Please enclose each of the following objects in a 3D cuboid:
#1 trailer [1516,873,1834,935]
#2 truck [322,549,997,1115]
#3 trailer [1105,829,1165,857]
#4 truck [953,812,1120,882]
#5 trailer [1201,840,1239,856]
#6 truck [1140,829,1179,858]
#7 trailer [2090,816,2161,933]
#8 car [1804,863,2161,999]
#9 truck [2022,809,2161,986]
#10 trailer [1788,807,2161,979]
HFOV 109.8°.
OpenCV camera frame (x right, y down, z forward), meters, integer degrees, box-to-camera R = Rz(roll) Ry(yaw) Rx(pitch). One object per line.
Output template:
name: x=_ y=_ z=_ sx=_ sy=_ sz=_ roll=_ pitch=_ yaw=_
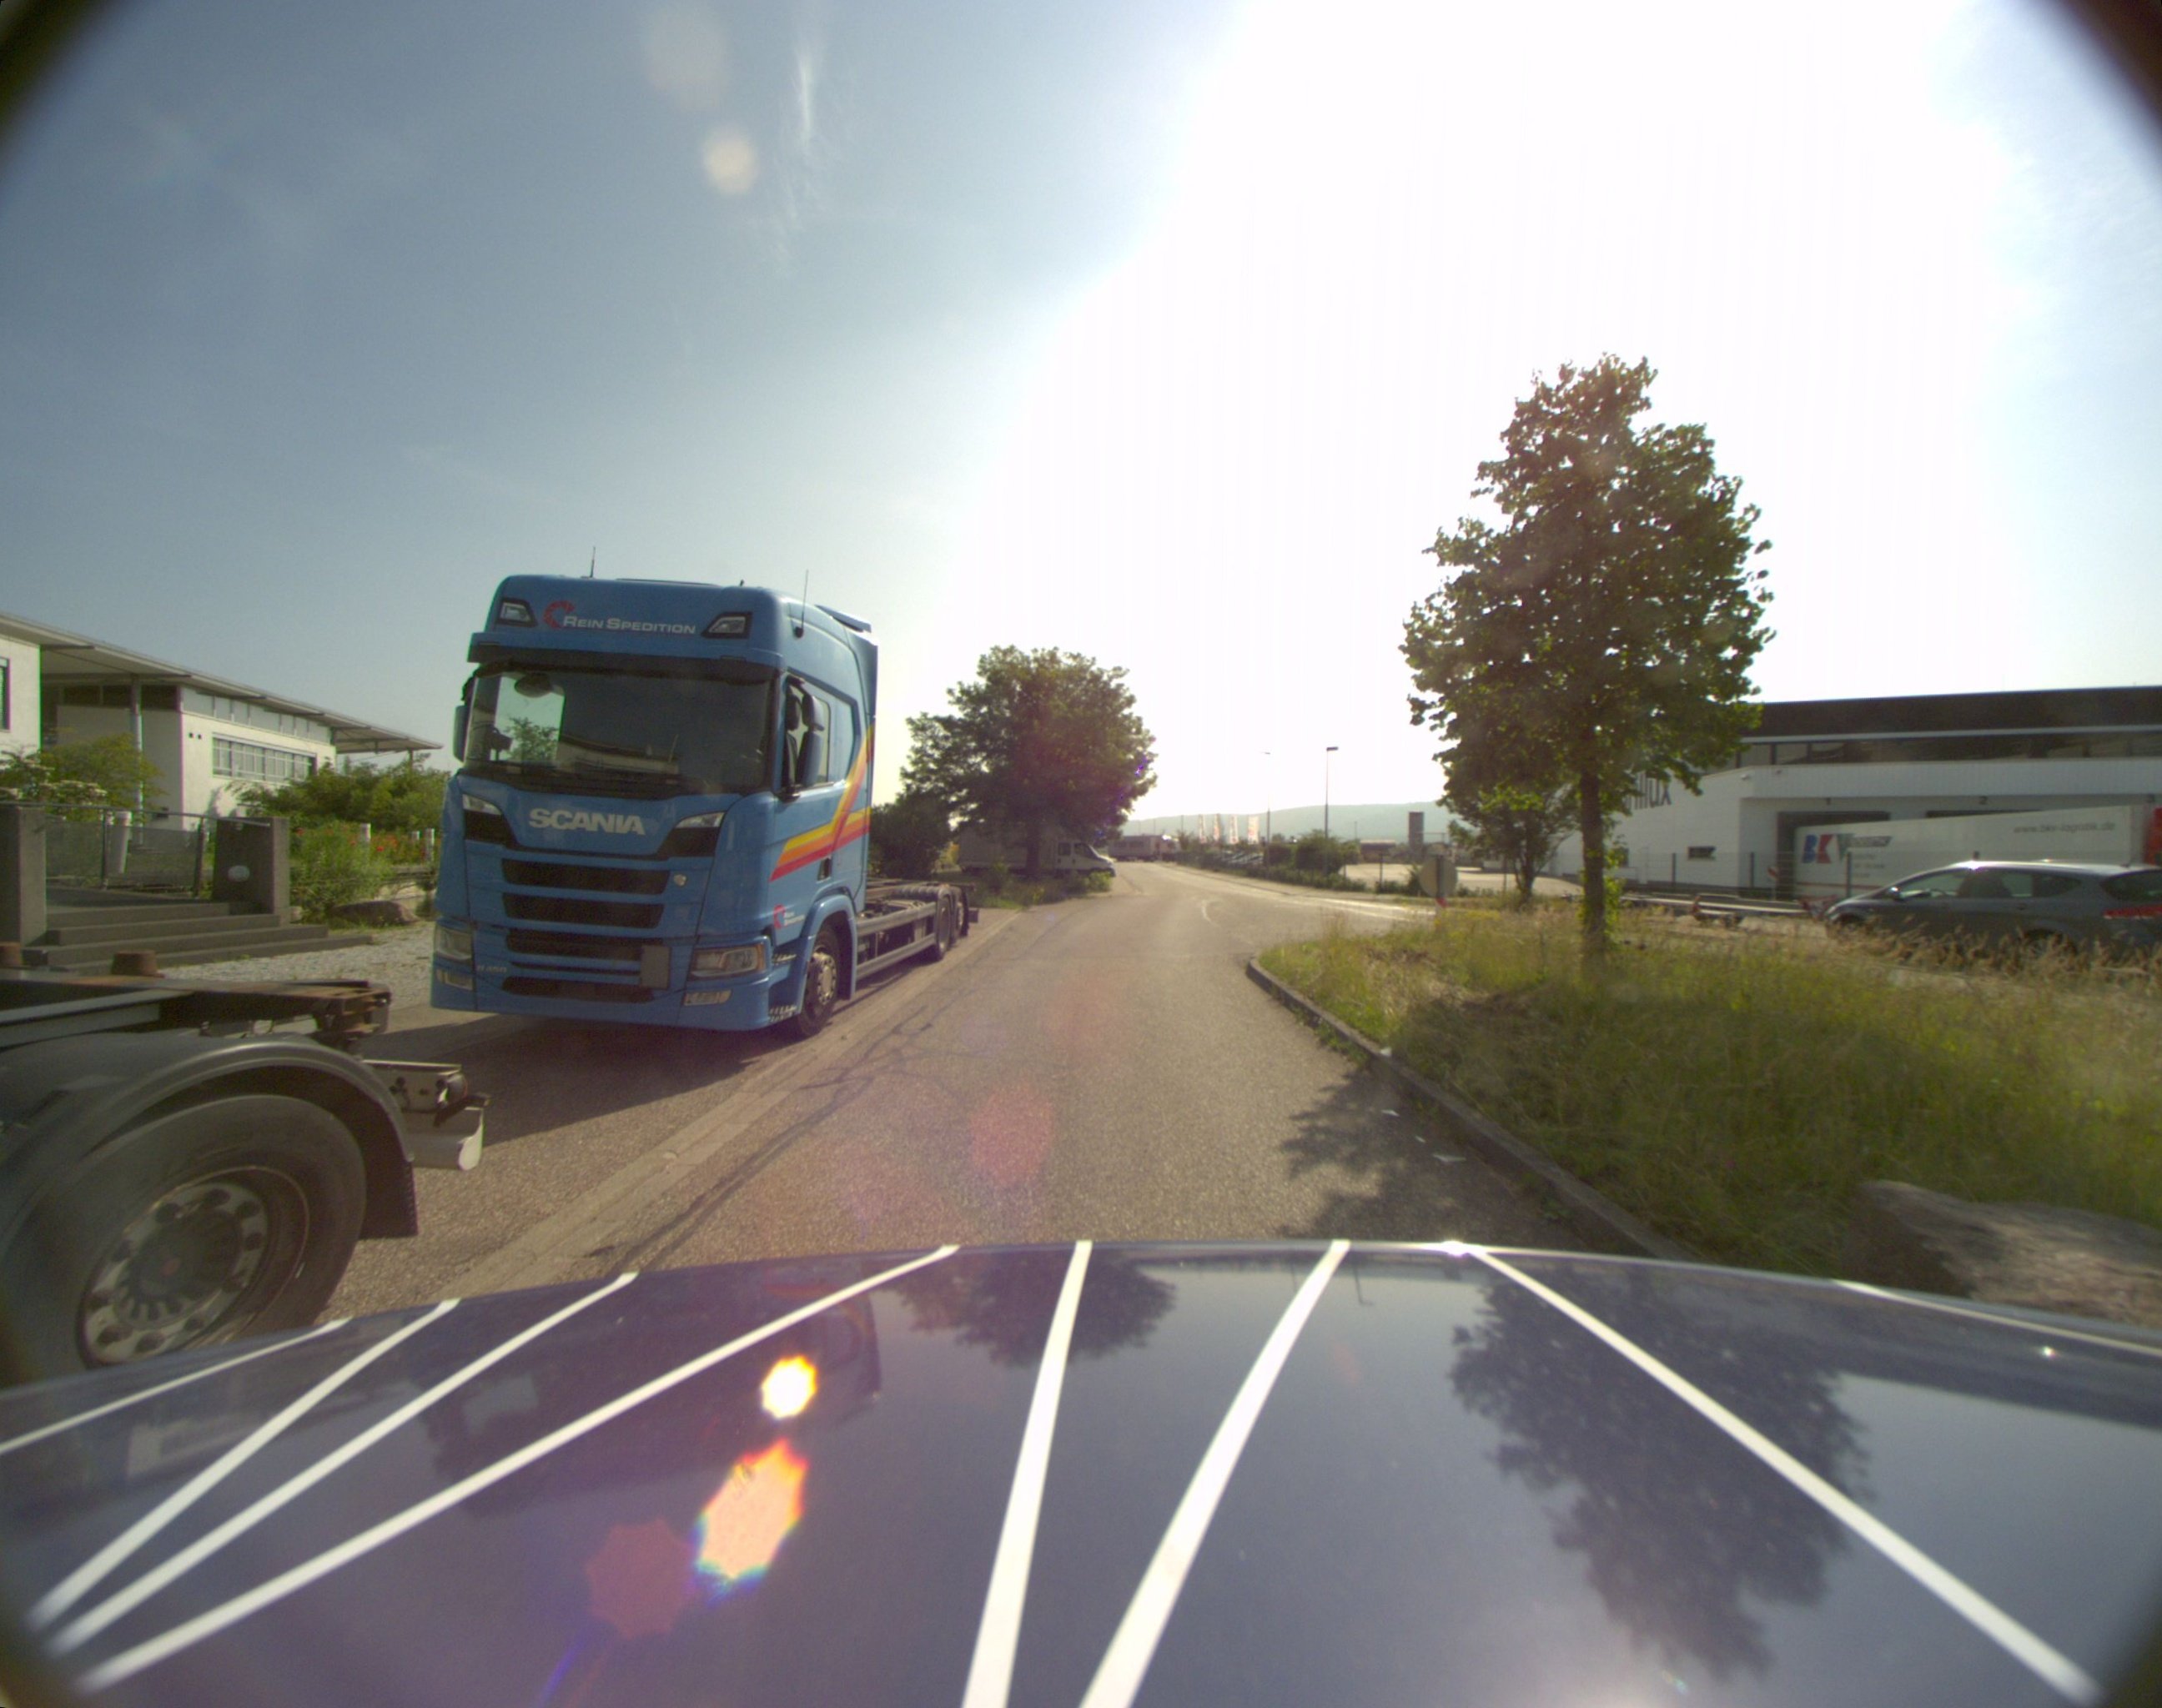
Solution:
trailer: x=13.917 y=1.084 z=18.697 sx=2.553 sy=0.920 sz=6.709 roll=-3 pitch=0 yaw=0
truck: x=-3.341 y=-0.251 z=9.840 sx=2.895 sy=3.515 sz=9.753 roll=4 pitch=2 yaw=2
trailer: x=8.531 y=-1.749 z=122.767 sx=3.504 sy=4.184 sz=14.203 roll=-2 pitch=2 yaw=-23
truck: x=-2.216 y=-0.394 z=39.147 sx=8.229 sy=3.351 sz=2.740 roll=1 pitch=2 yaw=0
trailer: x=25.166 y=-1.051 z=137.577 sx=6.314 sy=2.590 sz=2.857 roll=2 pitch=1 yaw=15
truck: x=11.855 y=-1.655 z=115.374 sx=3.401 sy=4.184 sz=6.086 roll=-2 pitch=2 yaw=-21
trailer: x=37.190 y=0.784 z=21.382 sx=2.858 sy=3.984 sz=14.026 roll=-1 pitch=1 yaw=17
car: x=13.858 y=0.977 z=11.530 sx=1.700 sy=1.552 sz=4.335 roll=-2 pitch=0 yaw=1
truck: x=26.279 y=0.960 z=17.828 sx=2.516 sy=4.048 sz=5.549 roll=-1 pitch=2 yaw=16
trailer: x=28.200 y=0.681 z=24.198 sx=2.485 sy=4.019 sz=13.902 roll=-1 pitch=2 yaw=17
